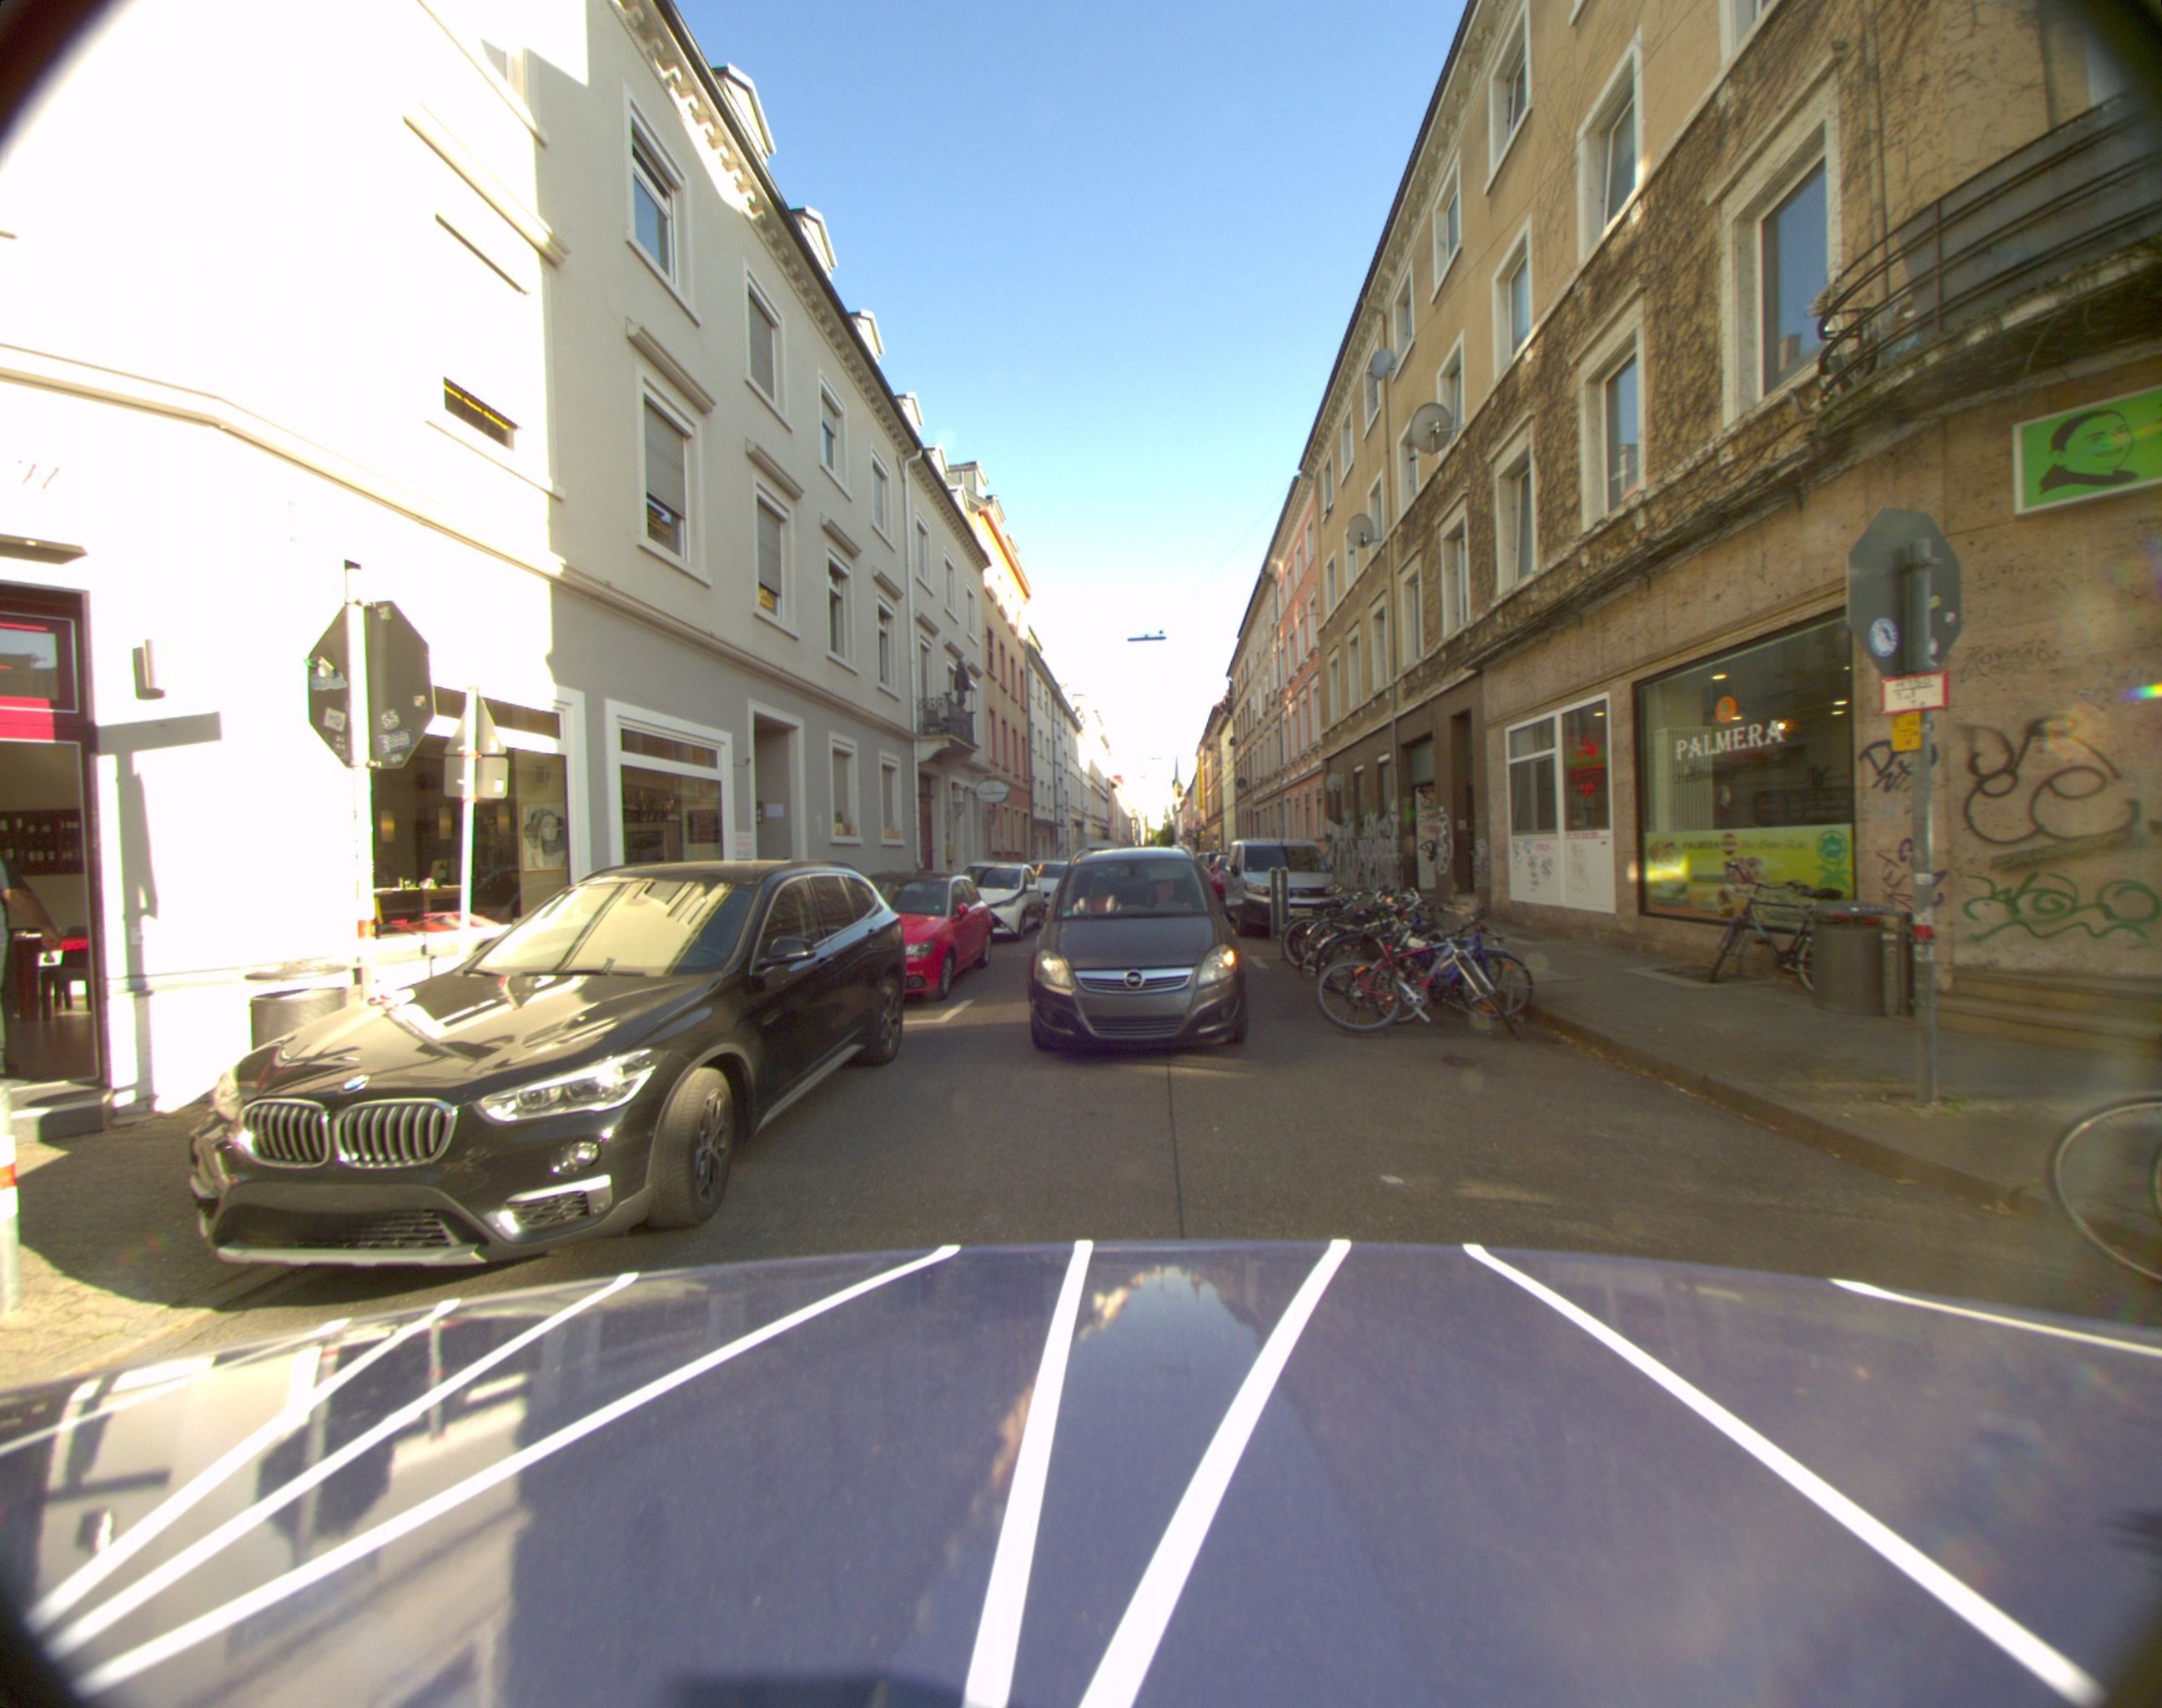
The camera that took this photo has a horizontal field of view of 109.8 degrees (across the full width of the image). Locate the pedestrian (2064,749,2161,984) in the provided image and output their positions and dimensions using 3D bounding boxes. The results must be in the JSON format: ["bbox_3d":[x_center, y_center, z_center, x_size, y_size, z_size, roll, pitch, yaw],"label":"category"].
[{"bbox_3d":[8.271,0.088,5.799,0.758,1.731,0.747,-2,0,-23],"label":"pedestrian"}]

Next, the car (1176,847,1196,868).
[{"bbox_3d":[9.982,0.273,72.359,1.751,1.880,4.774,-2,0,8],"label":"car"}]

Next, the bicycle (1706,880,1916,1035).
[{"bbox_3d":[6.126,0.809,6.493,0.398,1.086,1.592,-2,1,6],"label":"bicycle"}]

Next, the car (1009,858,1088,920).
[{"bbox_3d":[-0.851,0.936,22.185,1.683,1.501,4.191,-3,0,5],"label":"car"}]

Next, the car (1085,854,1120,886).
[{"bbox_3d":[1.216,0.808,40.702,1.683,1.550,3.861,-3,0,3],"label":"car"}]

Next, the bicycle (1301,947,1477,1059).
[{"bbox_3d":[2.564,1.231,6.361,1.312,0.813,0.371,-2,0,-4],"label":"bicycle"}]

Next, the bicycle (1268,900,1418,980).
[{"bbox_3d":[3.373,1.112,9.849,1.768,0.956,0.405,-2,0,5],"label":"bicycle"}]

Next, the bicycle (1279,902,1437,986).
[{"bbox_3d":[3.406,1.106,9.427,1.768,0.956,0.422,-2,0,5],"label":"bicycle"}]

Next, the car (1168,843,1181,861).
[{"bbox_3d":[12.931,-0.295,104.871,1.682,2.352,4.100,-2,0,6],"label":"car"}]

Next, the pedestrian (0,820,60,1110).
[{"bbox_3d":[-7.228,0.700,4.739,0.866,1.789,0.849,-2,1,-45],"label":"pedestrian"}]

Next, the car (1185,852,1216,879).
[{"bbox_3d":[7.084,0.638,44.881,1.682,1.454,3.863,-2,0,10],"label":"car"}]

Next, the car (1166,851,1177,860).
[{"bbox_3d":[15.455,0.207,129.974,1.682,1.381,3.861,-2,0,6],"label":"car"}]

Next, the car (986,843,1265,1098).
[{"bbox_3d":[0.531,0.793,7.734,1.798,1.652,5.186,-3,0,5],"label":"car"}]

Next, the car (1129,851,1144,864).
[{"bbox_3d":[7.384,0.413,100.925,1.682,1.588,3.861,-3,0,6],"label":"car"}]

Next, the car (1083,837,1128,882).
[{"bbox_3d":[1.624,0.307,47.406,2.049,2.498,6.026,-3,0,8],"label":"car"}]

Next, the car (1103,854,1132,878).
[{"bbox_3d":[2.563,0.800,52.375,1.682,1.434,3.861,-3,0,6],"label":"car"}]

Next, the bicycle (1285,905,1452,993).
[{"bbox_3d":[3.370,1.115,8.981,1.768,0.956,0.443,-2,0,5],"label":"bicycle"}]

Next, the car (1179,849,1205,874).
[{"bbox_3d":[8.026,0.496,55.007,1.682,1.674,3.861,-2,0,6],"label":"car"}]

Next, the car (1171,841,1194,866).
[{"bbox_3d":[11.128,-0.111,83.622,2.093,2.576,5.845,-2,0,5],"label":"car"}]

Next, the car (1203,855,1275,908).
[{"bbox_3d":[4.818,0.784,23.683,1.683,1.465,4.204,0,0,5],"label":"car"}]

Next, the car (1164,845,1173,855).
[{"bbox_3d":[26.931,-1.279,233.436,2.564,3.029,7.064,-3,0,6],"label":"car"}]

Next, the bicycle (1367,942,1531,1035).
[{"bbox_3d":[3.456,1.255,7.165,1.390,0.813,0.361,0,0,-4],"label":"bicycle"}]

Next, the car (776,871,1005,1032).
[{"bbox_3d":[-2.190,1.071,9.894,1.649,1.494,3.956,-3,0,4],"label":"car"}]

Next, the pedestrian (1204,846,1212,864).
[{"bbox_3d":[12.762,0.113,76.223,0.626,1.820,0.595,-3,1,7],"label":"pedestrian"}]

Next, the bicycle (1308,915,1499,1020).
[{"bbox_3d":[3.306,1.154,7.840,1.769,0.956,0.427,-2,0,-2],"label":"bicycle"}]

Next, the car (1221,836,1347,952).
[{"bbox_3d":[3.814,0.652,15.009,1.682,1.899,4.521,1,1,6],"label":"car"}]

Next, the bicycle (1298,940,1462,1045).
[{"bbox_3d":[2.640,1.215,6.742,1.312,0.813,0.355,-2,0,-4],"label":"bicycle"}]

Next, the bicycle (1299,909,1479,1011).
[{"bbox_3d":[3.321,1.126,8.236,1.770,0.956,0.481,-2,0,-6],"label":"bicycle"}]

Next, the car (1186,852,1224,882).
[{"bbox_3d":[6.480,0.650,39.926,1.682,1.454,4.315,-2,0,6],"label":"car"}]

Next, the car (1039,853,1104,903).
[{"bbox_3d":[-0.253,0.836,28.067,1.682,1.588,4.192,-3,0,8],"label":"car"}]

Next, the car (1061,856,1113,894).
[{"bbox_3d":[0.332,0.859,32.539,1.771,1.386,4.496,-3,0,5],"label":"car"}]

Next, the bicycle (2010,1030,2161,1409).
[{"bbox_3d":[3.776,1.125,1.951,0.459,1.039,1.684,-2,-2,-34],"label":"bicycle"}]

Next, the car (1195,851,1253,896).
[{"bbox_3d":[5.273,0.685,28.227,1.683,1.540,2.960,-1,0,2],"label":"car"}]

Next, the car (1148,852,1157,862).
[{"bbox_3d":[15.312,0.617,162.099,1.682,2.077,4.160,-3,0,6],"label":"car"}]

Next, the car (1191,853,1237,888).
[{"bbox_3d":[6.102,0.715,35.151,1.683,1.483,3.613,-2,0,4],"label":"car"}]

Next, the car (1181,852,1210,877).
[{"bbox_3d":[7.428,0.656,49.725,1.682,1.454,3.861,-2,0,6],"label":"car"}]

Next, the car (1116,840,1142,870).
[{"bbox_3d":[4.717,0.056,73.716,2.049,2.662,6.188,-3,0,6],"label":"car"}]

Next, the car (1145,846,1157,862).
[{"bbox_3d":[15.639,0.027,168.911,2.436,3.404,5.545,-3,0,6],"label":"car"}]

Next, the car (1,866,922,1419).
[{"bbox_3d":[-2.465,0.986,4.536,1.764,1.652,4.198,-3,0,4],"label":"car"}]

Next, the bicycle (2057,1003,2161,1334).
[{"bbox_3d":[4.194,1.092,2.188,0.452,1.039,1.660,-2,0,-34],"label":"bicycle"}]

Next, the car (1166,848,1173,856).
[{"bbox_3d":[23.815,-0.500,203.497,1.682,1.851,4.160,-3,0,6],"label":"car"}]

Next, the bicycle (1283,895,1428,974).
[{"bbox_3d":[3.678,1.086,10.268,1.768,0.983,0.463,-2,0,5],"label":"bicycle"}]

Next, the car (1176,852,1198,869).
[{"bbox_3d":[9.123,0.553,65.693,1.682,1.407,3.861,-2,0,6],"label":"car"}]

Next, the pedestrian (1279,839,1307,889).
[{"bbox_3d":[7.837,0.366,28.116,0.790,1.820,0.595,-3,1,6],"label":"pedestrian"}]

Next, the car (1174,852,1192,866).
[{"bbox_3d":[10.394,0.518,77.627,1.682,1.381,3.861,-2,0,6],"label":"car"}]

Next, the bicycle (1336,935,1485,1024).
[{"bbox_3d":[3.224,1.220,7.470,1.312,0.813,0.381,0,0,-4],"label":"bicycle"}]

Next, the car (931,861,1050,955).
[{"bbox_3d":[-1.716,0.998,15.638,1.640,1.577,3.789,-3,0,4],"label":"car"}]
